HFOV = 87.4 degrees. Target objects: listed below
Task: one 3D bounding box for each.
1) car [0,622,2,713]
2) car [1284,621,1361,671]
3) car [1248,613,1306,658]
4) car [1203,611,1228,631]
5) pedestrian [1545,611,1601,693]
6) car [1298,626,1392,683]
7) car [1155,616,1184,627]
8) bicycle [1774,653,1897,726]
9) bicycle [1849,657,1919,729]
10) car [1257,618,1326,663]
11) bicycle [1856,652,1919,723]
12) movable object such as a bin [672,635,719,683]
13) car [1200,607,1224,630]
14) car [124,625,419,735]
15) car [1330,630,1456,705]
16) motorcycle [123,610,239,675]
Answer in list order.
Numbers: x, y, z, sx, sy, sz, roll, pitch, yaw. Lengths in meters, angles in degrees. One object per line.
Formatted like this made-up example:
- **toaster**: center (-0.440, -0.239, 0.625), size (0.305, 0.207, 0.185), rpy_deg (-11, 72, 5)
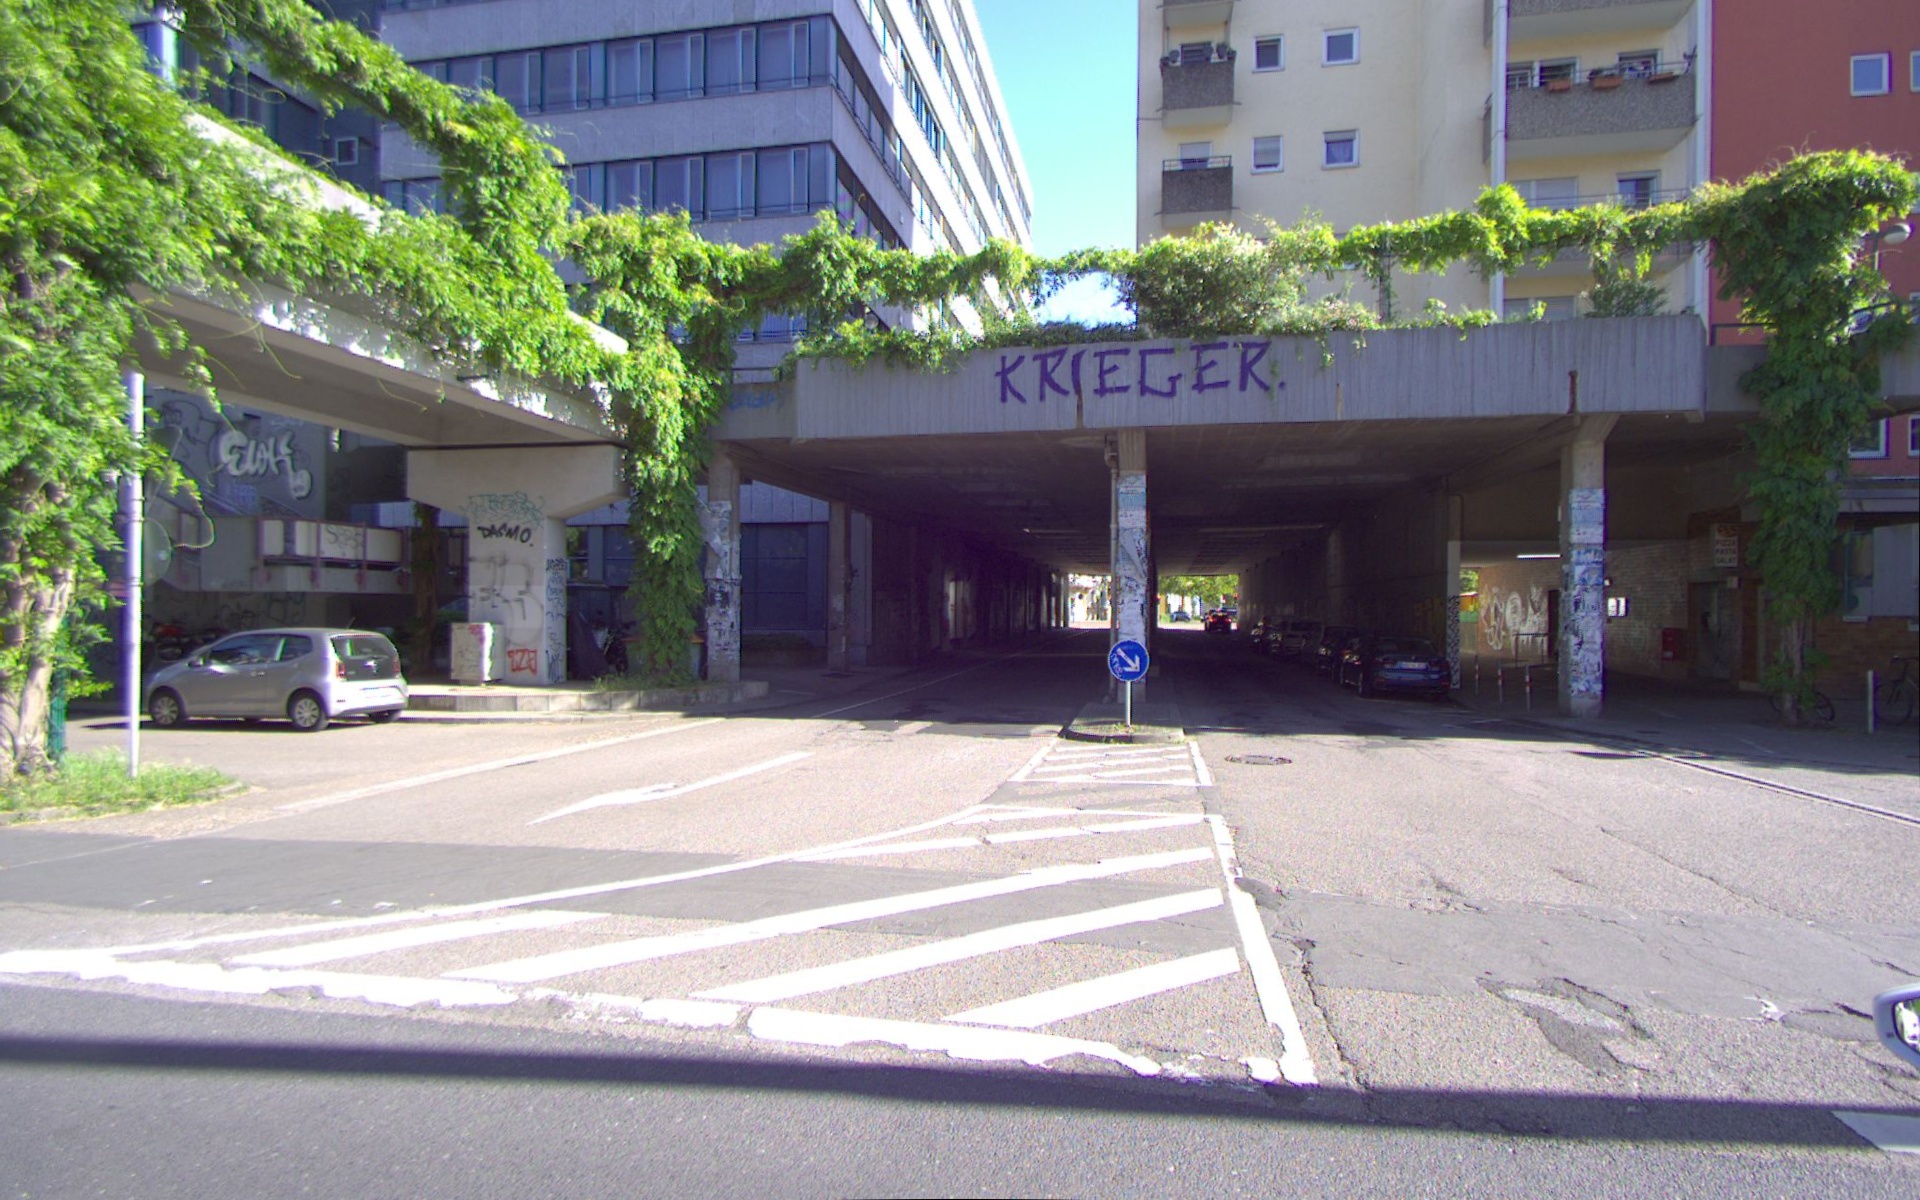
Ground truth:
- **car**: center (-18.464, 1.120, 16.673), size (3.919, 1.550, 1.739), rpy_deg (0, -1, 11)
- **car**: center (11.657, 1.448, 32.496), size (1.576, 1.507, 3.640), rpy_deg (0, -1, 7)
- **car**: center (13.298, 1.449, 42.363), size (1.821, 1.688, 4.373), rpy_deg (1, 0, 11)
- **car**: center (20.126, 1.661, 79.219), size (1.795, 1.521, 4.213), rpy_deg (0, 0, 12)
- **pedestrian**: center (13.415, 1.124, 22.011), size (0.780, 1.722, 0.758), rpy_deg (1, 2, 10)
- **car**: center (10.718, 1.470, 28.207), size (1.731, 1.429, 4.066), rpy_deg (0, -1, 10)
- **car**: center (29.827, 3.031, 142.985), size (3.919, 1.595, 1.640), rpy_deg (0, -1, 16)
- **bicycle**: center (13.981, 1.403, 16.109), size (0.475, 1.014, 1.803), rpy_deg (-1, 0, 3)
- **bicycle**: center (14.619, 1.434, 15.367), size (0.408, 1.014, 1.614), rpy_deg (-1, 1, -11)
- **car**: center (12.224, 1.446, 37.228), size (1.700, 1.566, 4.159), rpy_deg (0, -1, 8)
- **bicycle**: center (15.193, 1.398, 15.952), size (0.407, 1.014, 1.802), rpy_deg (-1, 1, 4)
- **movable object such as a bin**: center (-5.290, 1.168, 20.117), size (0.704, 0.917, 0.641), rpy_deg (0, -1, 9)
- **car**: center (21.393, 1.557, 85.388), size (1.784, 1.908, 4.588), rpy_deg (0, 0, 11)
- **car**: center (-10.369, 1.149, 15.240), size (3.574, 1.506, 1.612), rpy_deg (0, -1, 10)
- **car**: center (9.933, 1.483, 23.399), size (1.820, 1.452, 4.610), rpy_deg (2, -1, 13)
- **motorcycle**: center (-16.128, 0.869, 20.815), size (2.012, 1.287, 0.732), rpy_deg (0, -1, 10)
